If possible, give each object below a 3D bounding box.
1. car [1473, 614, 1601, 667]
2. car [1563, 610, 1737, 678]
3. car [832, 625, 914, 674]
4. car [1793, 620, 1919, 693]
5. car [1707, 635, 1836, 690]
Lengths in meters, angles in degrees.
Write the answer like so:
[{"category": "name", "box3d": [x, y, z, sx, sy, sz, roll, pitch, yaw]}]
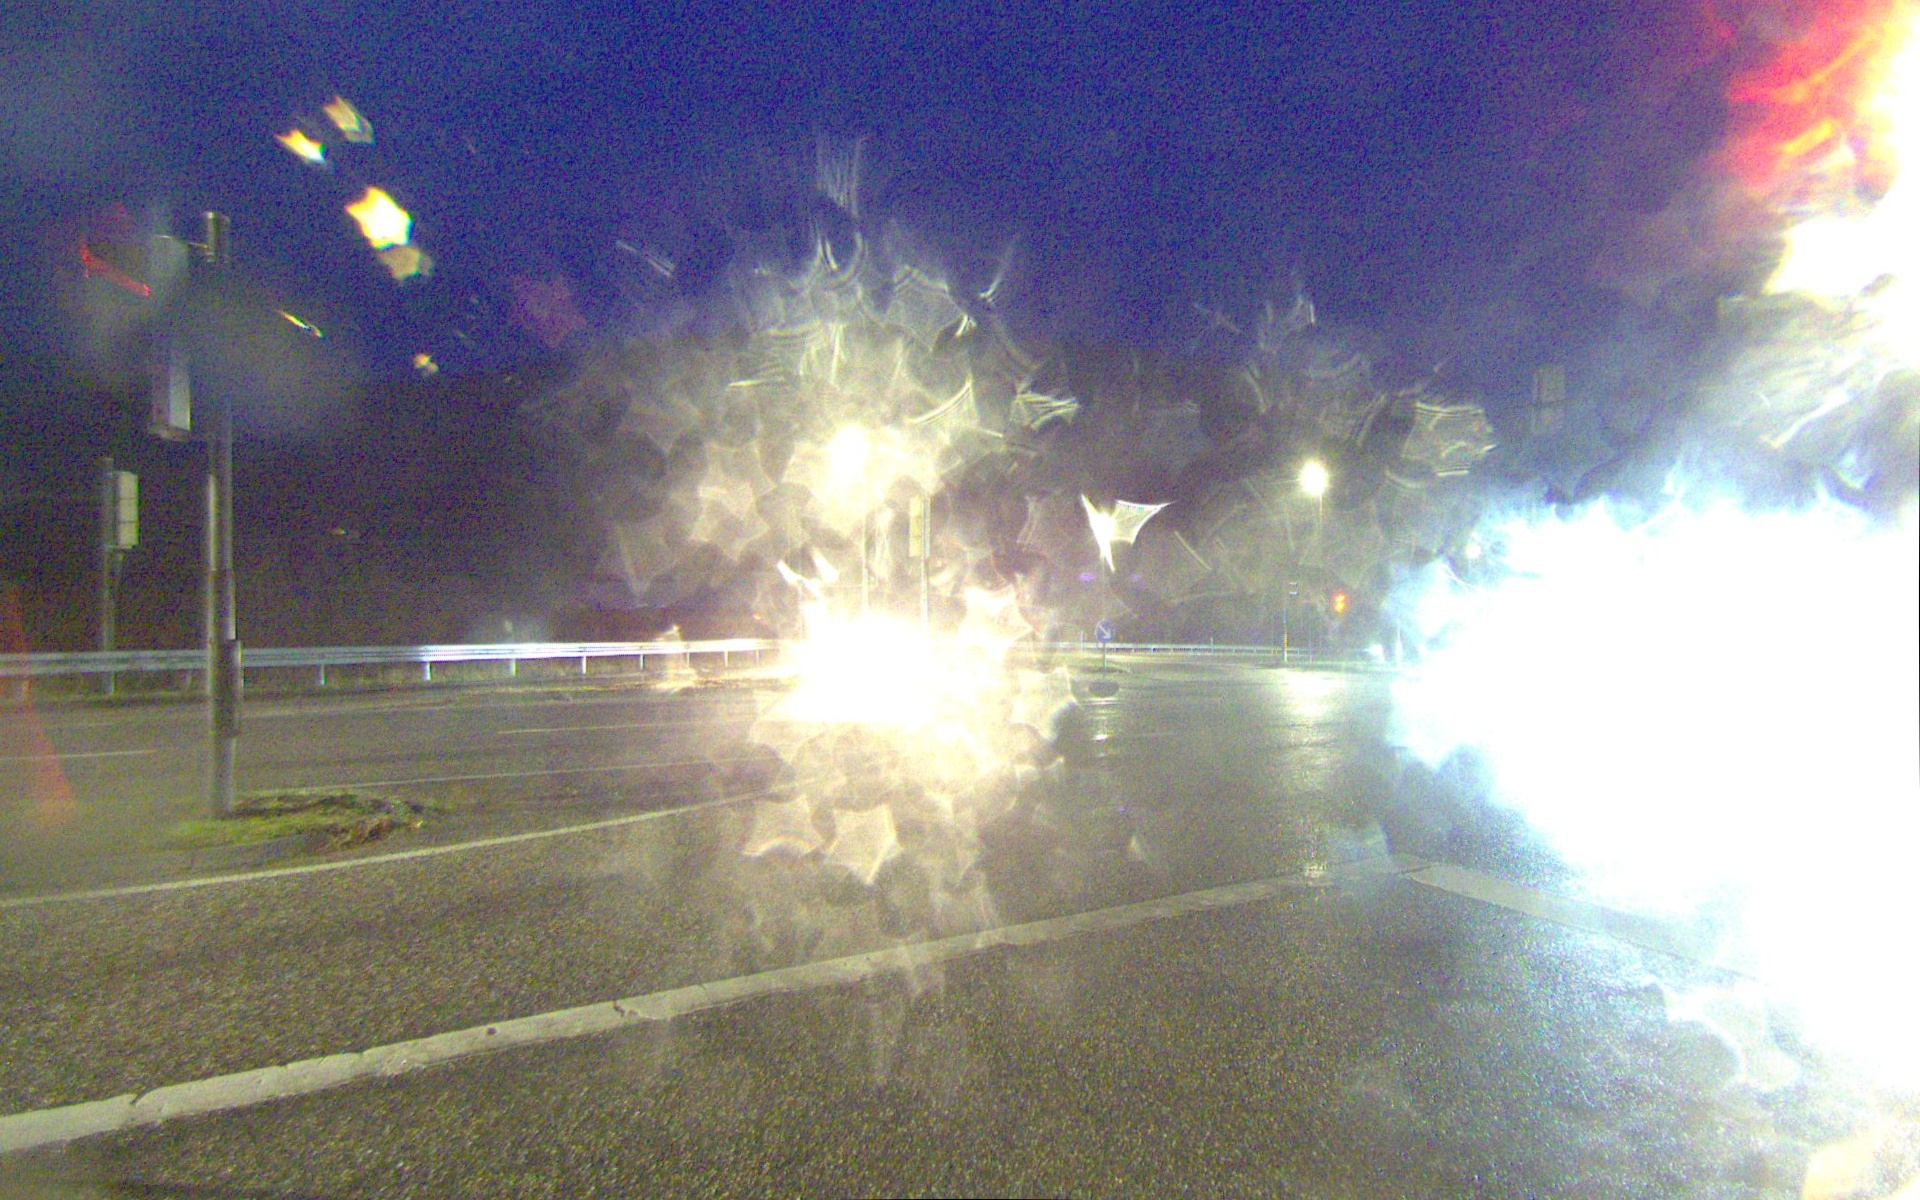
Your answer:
[{"category": "car", "box3d": [21.117, 1.453, 36.935, 3.924, 1.856, 1.720, 0, -1, 24]}, {"category": "car", "box3d": [17.718, 1.100, 25.738, 4.855, 1.592, 1.784, 1, -1, -30]}, {"category": "car", "box3d": [-2.859, 1.687, 33.961, 1.625, 1.518, 4.379, -1, -3, 11]}, {"category": "car", "box3d": [22.216, 1.322, 24.253, 4.655, 1.592, 1.691, 1, -1, -29]}, {"category": "car", "box3d": [23.449, 1.795, 29.016, 3.683, 1.473, 1.660, 2, -1, -29]}]
